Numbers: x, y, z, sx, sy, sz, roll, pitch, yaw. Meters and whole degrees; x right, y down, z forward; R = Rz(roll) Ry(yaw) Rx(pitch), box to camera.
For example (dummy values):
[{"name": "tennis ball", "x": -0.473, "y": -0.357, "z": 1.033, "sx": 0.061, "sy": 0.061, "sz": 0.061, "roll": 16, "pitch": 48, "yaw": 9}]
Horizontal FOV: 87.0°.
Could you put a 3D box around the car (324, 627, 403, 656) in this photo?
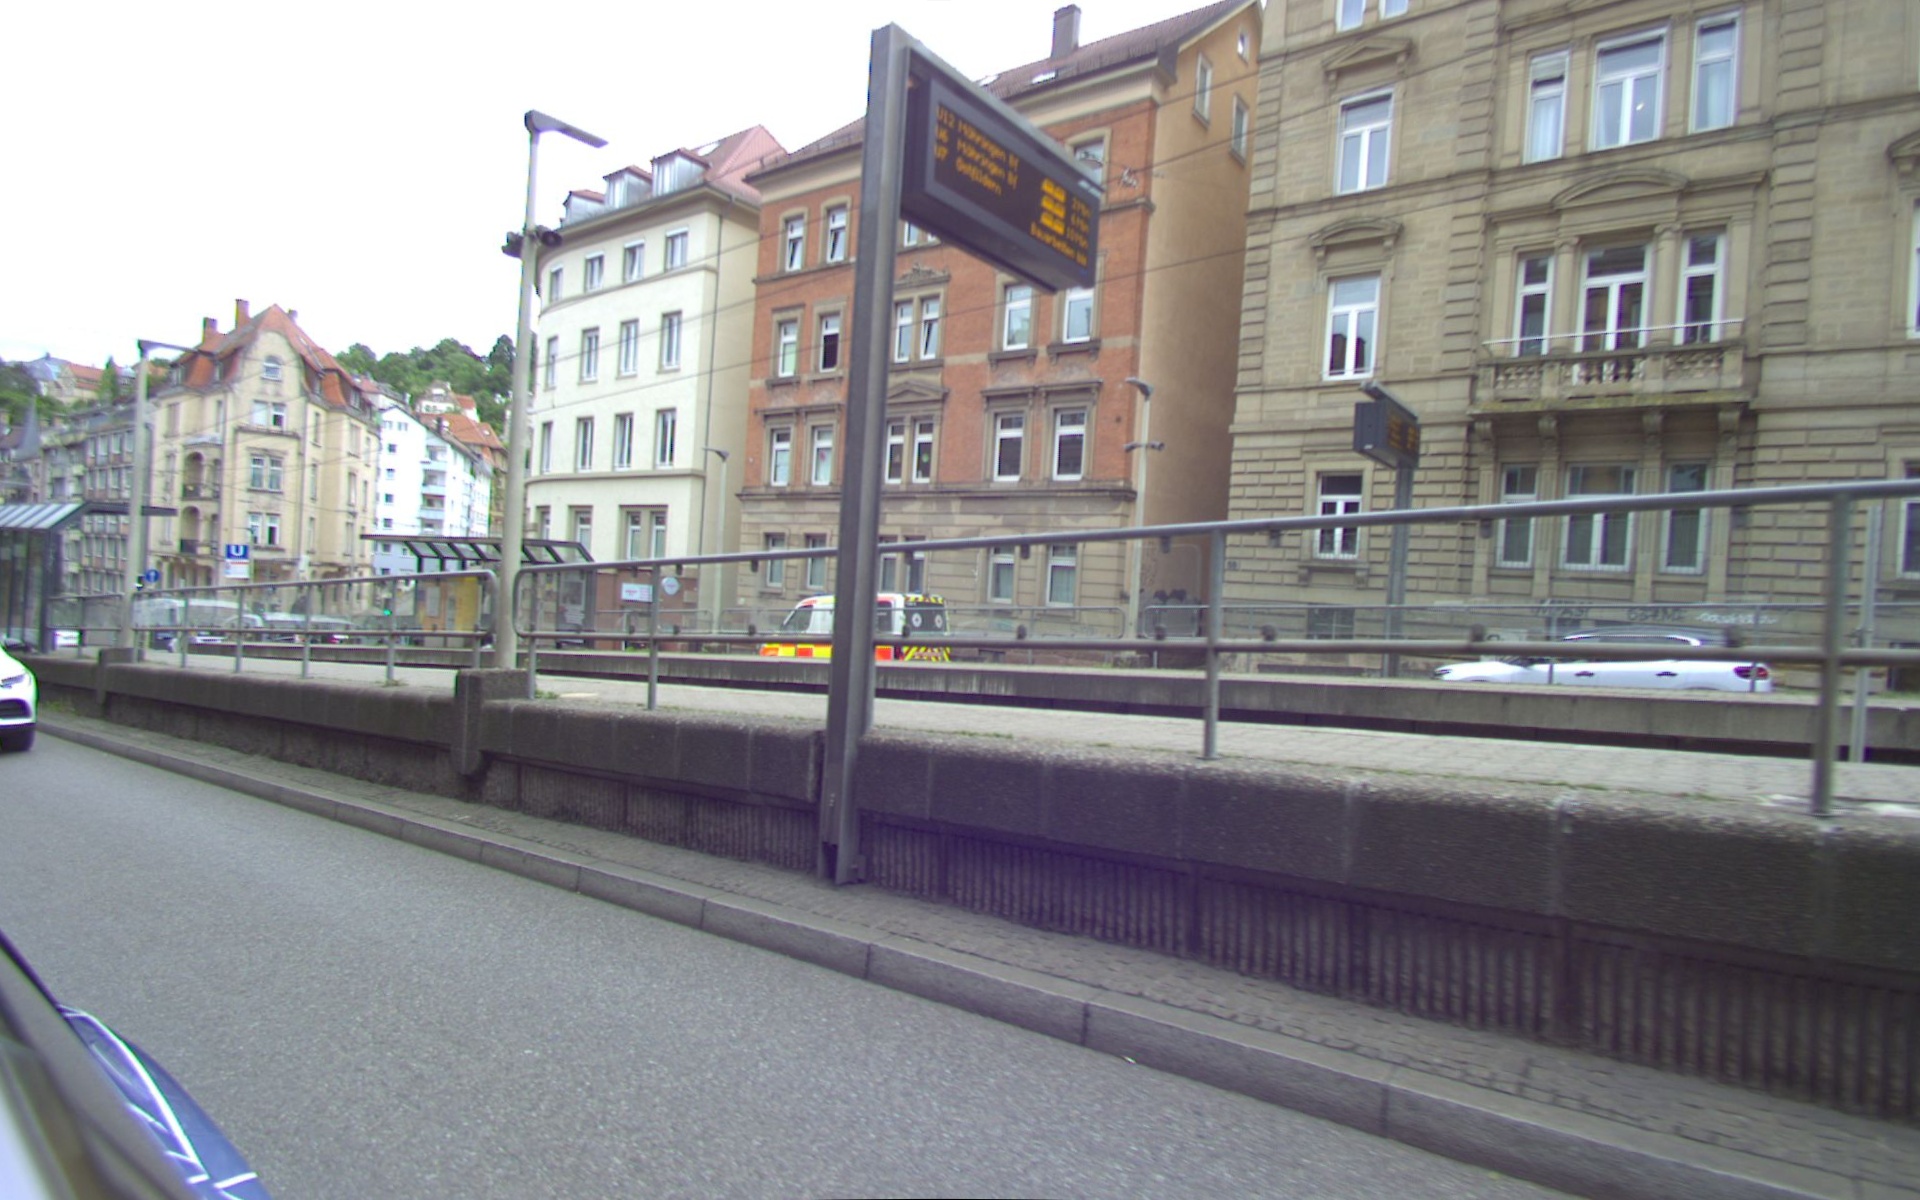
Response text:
[{"name": "car", "x": -36.889, "y": 2.563, "z": 62.686, "sx": 1.981, "sy": 1.723, "sz": 3.981, "roll": 0, "pitch": -2, "yaw": 14}]

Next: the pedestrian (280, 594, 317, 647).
[{"name": "pedestrian", "x": -21.663, "y": 0.682, "z": 33.129, "sx": 0.842, "sy": 1.701, "sz": 0.758, "roll": -2, "pitch": -3, "yaw": 38}]

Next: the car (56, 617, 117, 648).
[{"name": "car", "x": -51.080, "y": 1.915, "z": 59.168, "sx": 4.373, "sy": 1.747, "sz": 1.828, "roll": -2, "pitch": -3, "yaw": 37}]

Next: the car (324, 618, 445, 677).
[{"name": "car", "x": -19.816, "y": 1.591, "z": 34.799, "sx": 4.407, "sy": 1.909, "sz": 1.975, "roll": -1, "pitch": -2, "yaw": 37}]

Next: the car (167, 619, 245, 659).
[{"name": "car", "x": -34.660, "y": 1.766, "z": 46.504, "sx": 3.857, "sy": 1.778, "sz": 1.806, "roll": -1, "pitch": -2, "yaw": 37}]

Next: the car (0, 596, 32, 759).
[{"name": "car", "x": -12.137, "y": 0.807, "z": 11.383, "sx": 4.665, "sy": 1.679, "sz": 1.818, "roll": 0, "pitch": 0, "yaw": 39}]

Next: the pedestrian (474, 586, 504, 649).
[{"name": "pedestrian", "x": -11.816, "y": 0.441, "z": 25.371, "sx": 0.540, "sy": 1.574, "sz": 0.458, "roll": -1, "pitch": -3, "yaw": 37}]

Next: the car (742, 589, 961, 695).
[{"name": "car", "x": -2.734, "y": 0.991, "z": 24.666, "sx": 5.447, "sy": 2.322, "sz": 1.974, "roll": -1, "pitch": -3, "yaw": 38}]

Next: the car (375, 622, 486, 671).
[{"name": "car", "x": -19.371, "y": 1.665, "z": 36.958, "sx": 4.407, "sy": 1.658, "sz": 1.845, "roll": -1, "pitch": -2, "yaw": 37}]

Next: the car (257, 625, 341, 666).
[{"name": "car", "x": -30.029, "y": 2.053, "z": 45.946, "sx": 4.373, "sy": 1.747, "sz": 1.828, "roll": -2, "pitch": -3, "yaw": 37}]

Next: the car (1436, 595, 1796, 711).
[{"name": "car", "x": 9.549, "y": 0.721, "z": 15.012, "sx": 4.253, "sy": 1.482, "sz": 1.752, "roll": -1, "pitch": -1, "yaw": 37}]
